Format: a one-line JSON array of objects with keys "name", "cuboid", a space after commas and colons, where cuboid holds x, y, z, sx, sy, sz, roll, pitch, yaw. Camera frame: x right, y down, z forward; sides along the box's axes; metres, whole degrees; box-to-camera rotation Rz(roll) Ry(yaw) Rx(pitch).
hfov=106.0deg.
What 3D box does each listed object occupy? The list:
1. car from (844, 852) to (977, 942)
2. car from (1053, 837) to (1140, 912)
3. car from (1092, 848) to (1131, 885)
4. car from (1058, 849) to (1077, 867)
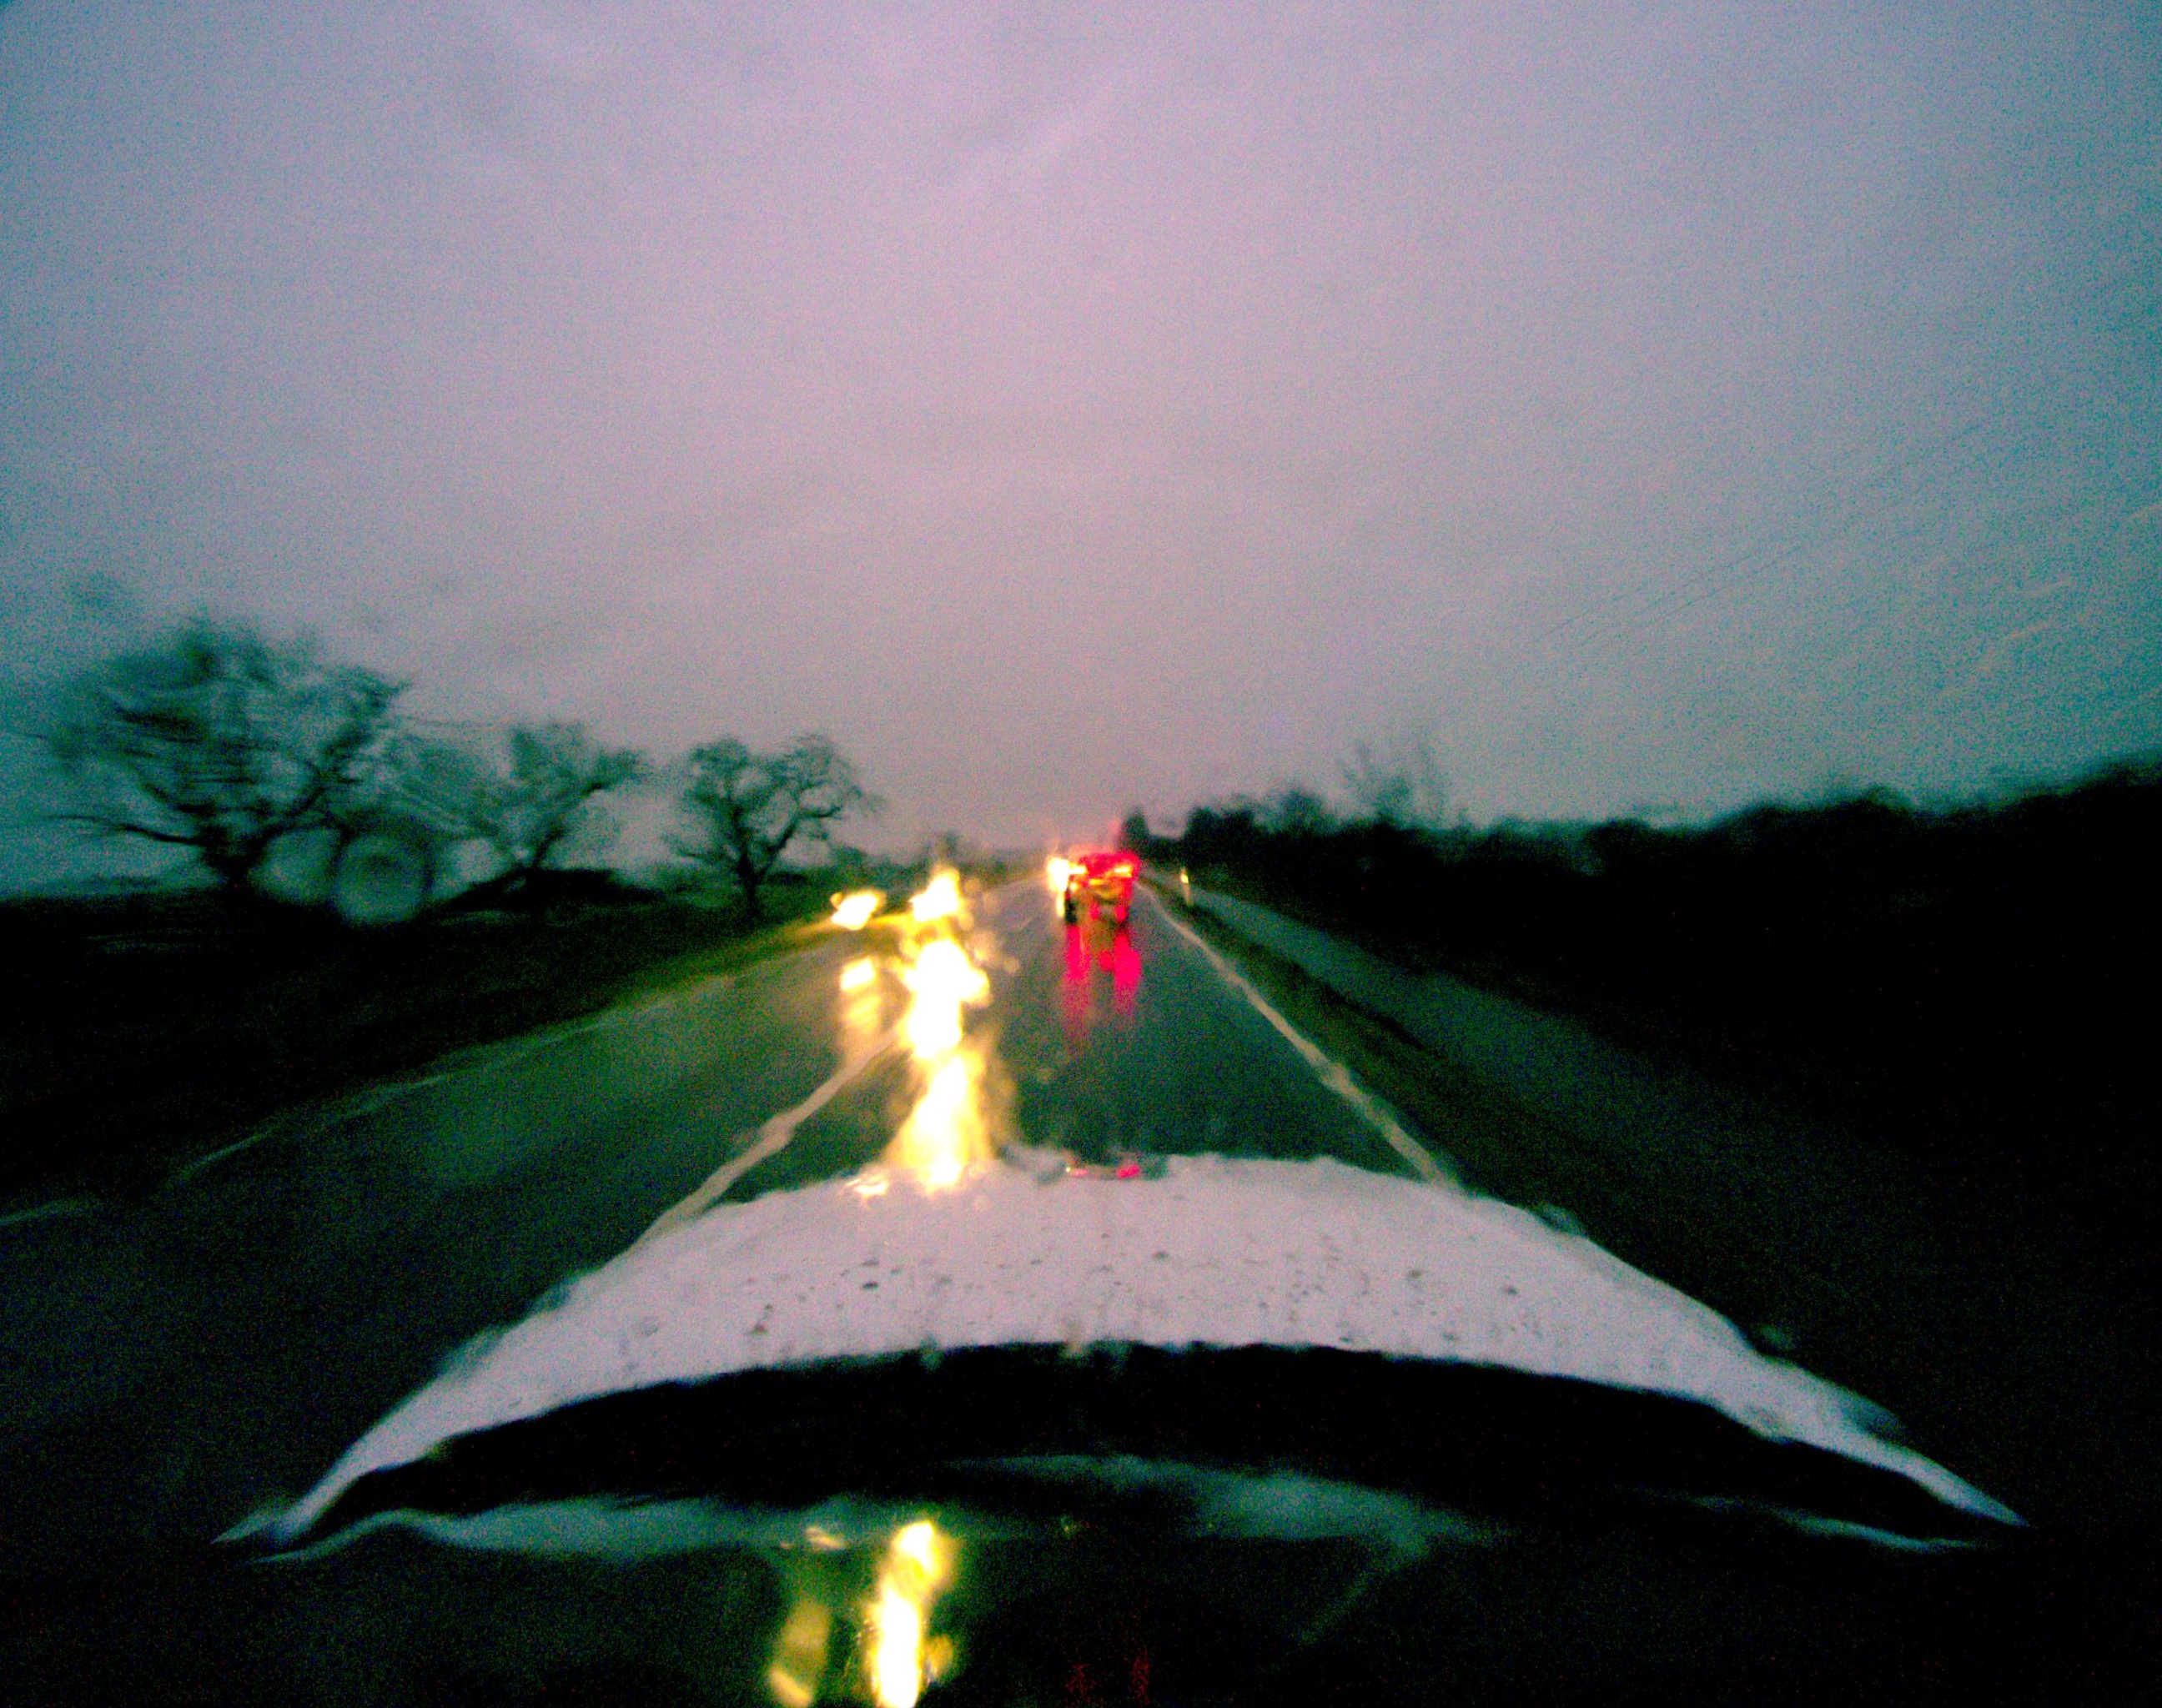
[{"name": "car", "cuboid": [-3.414, 0.799, 17.082, 1.755, 1.555, 4.002, -3, 0, 2]}, {"name": "car", "cuboid": [0.475, 0.498, 22.631, 2.112, 1.820, 4.982, -1, 0, 2]}, {"name": "car", "cuboid": [1.603, 0.617, 42.953, 1.986, 1.849, 4.002, -1, 0, 2]}, {"name": "car", "cuboid": [-1.403, 0.396, 85.953, 1.818, 1.806, 4.495, -3, 0, 1]}]
